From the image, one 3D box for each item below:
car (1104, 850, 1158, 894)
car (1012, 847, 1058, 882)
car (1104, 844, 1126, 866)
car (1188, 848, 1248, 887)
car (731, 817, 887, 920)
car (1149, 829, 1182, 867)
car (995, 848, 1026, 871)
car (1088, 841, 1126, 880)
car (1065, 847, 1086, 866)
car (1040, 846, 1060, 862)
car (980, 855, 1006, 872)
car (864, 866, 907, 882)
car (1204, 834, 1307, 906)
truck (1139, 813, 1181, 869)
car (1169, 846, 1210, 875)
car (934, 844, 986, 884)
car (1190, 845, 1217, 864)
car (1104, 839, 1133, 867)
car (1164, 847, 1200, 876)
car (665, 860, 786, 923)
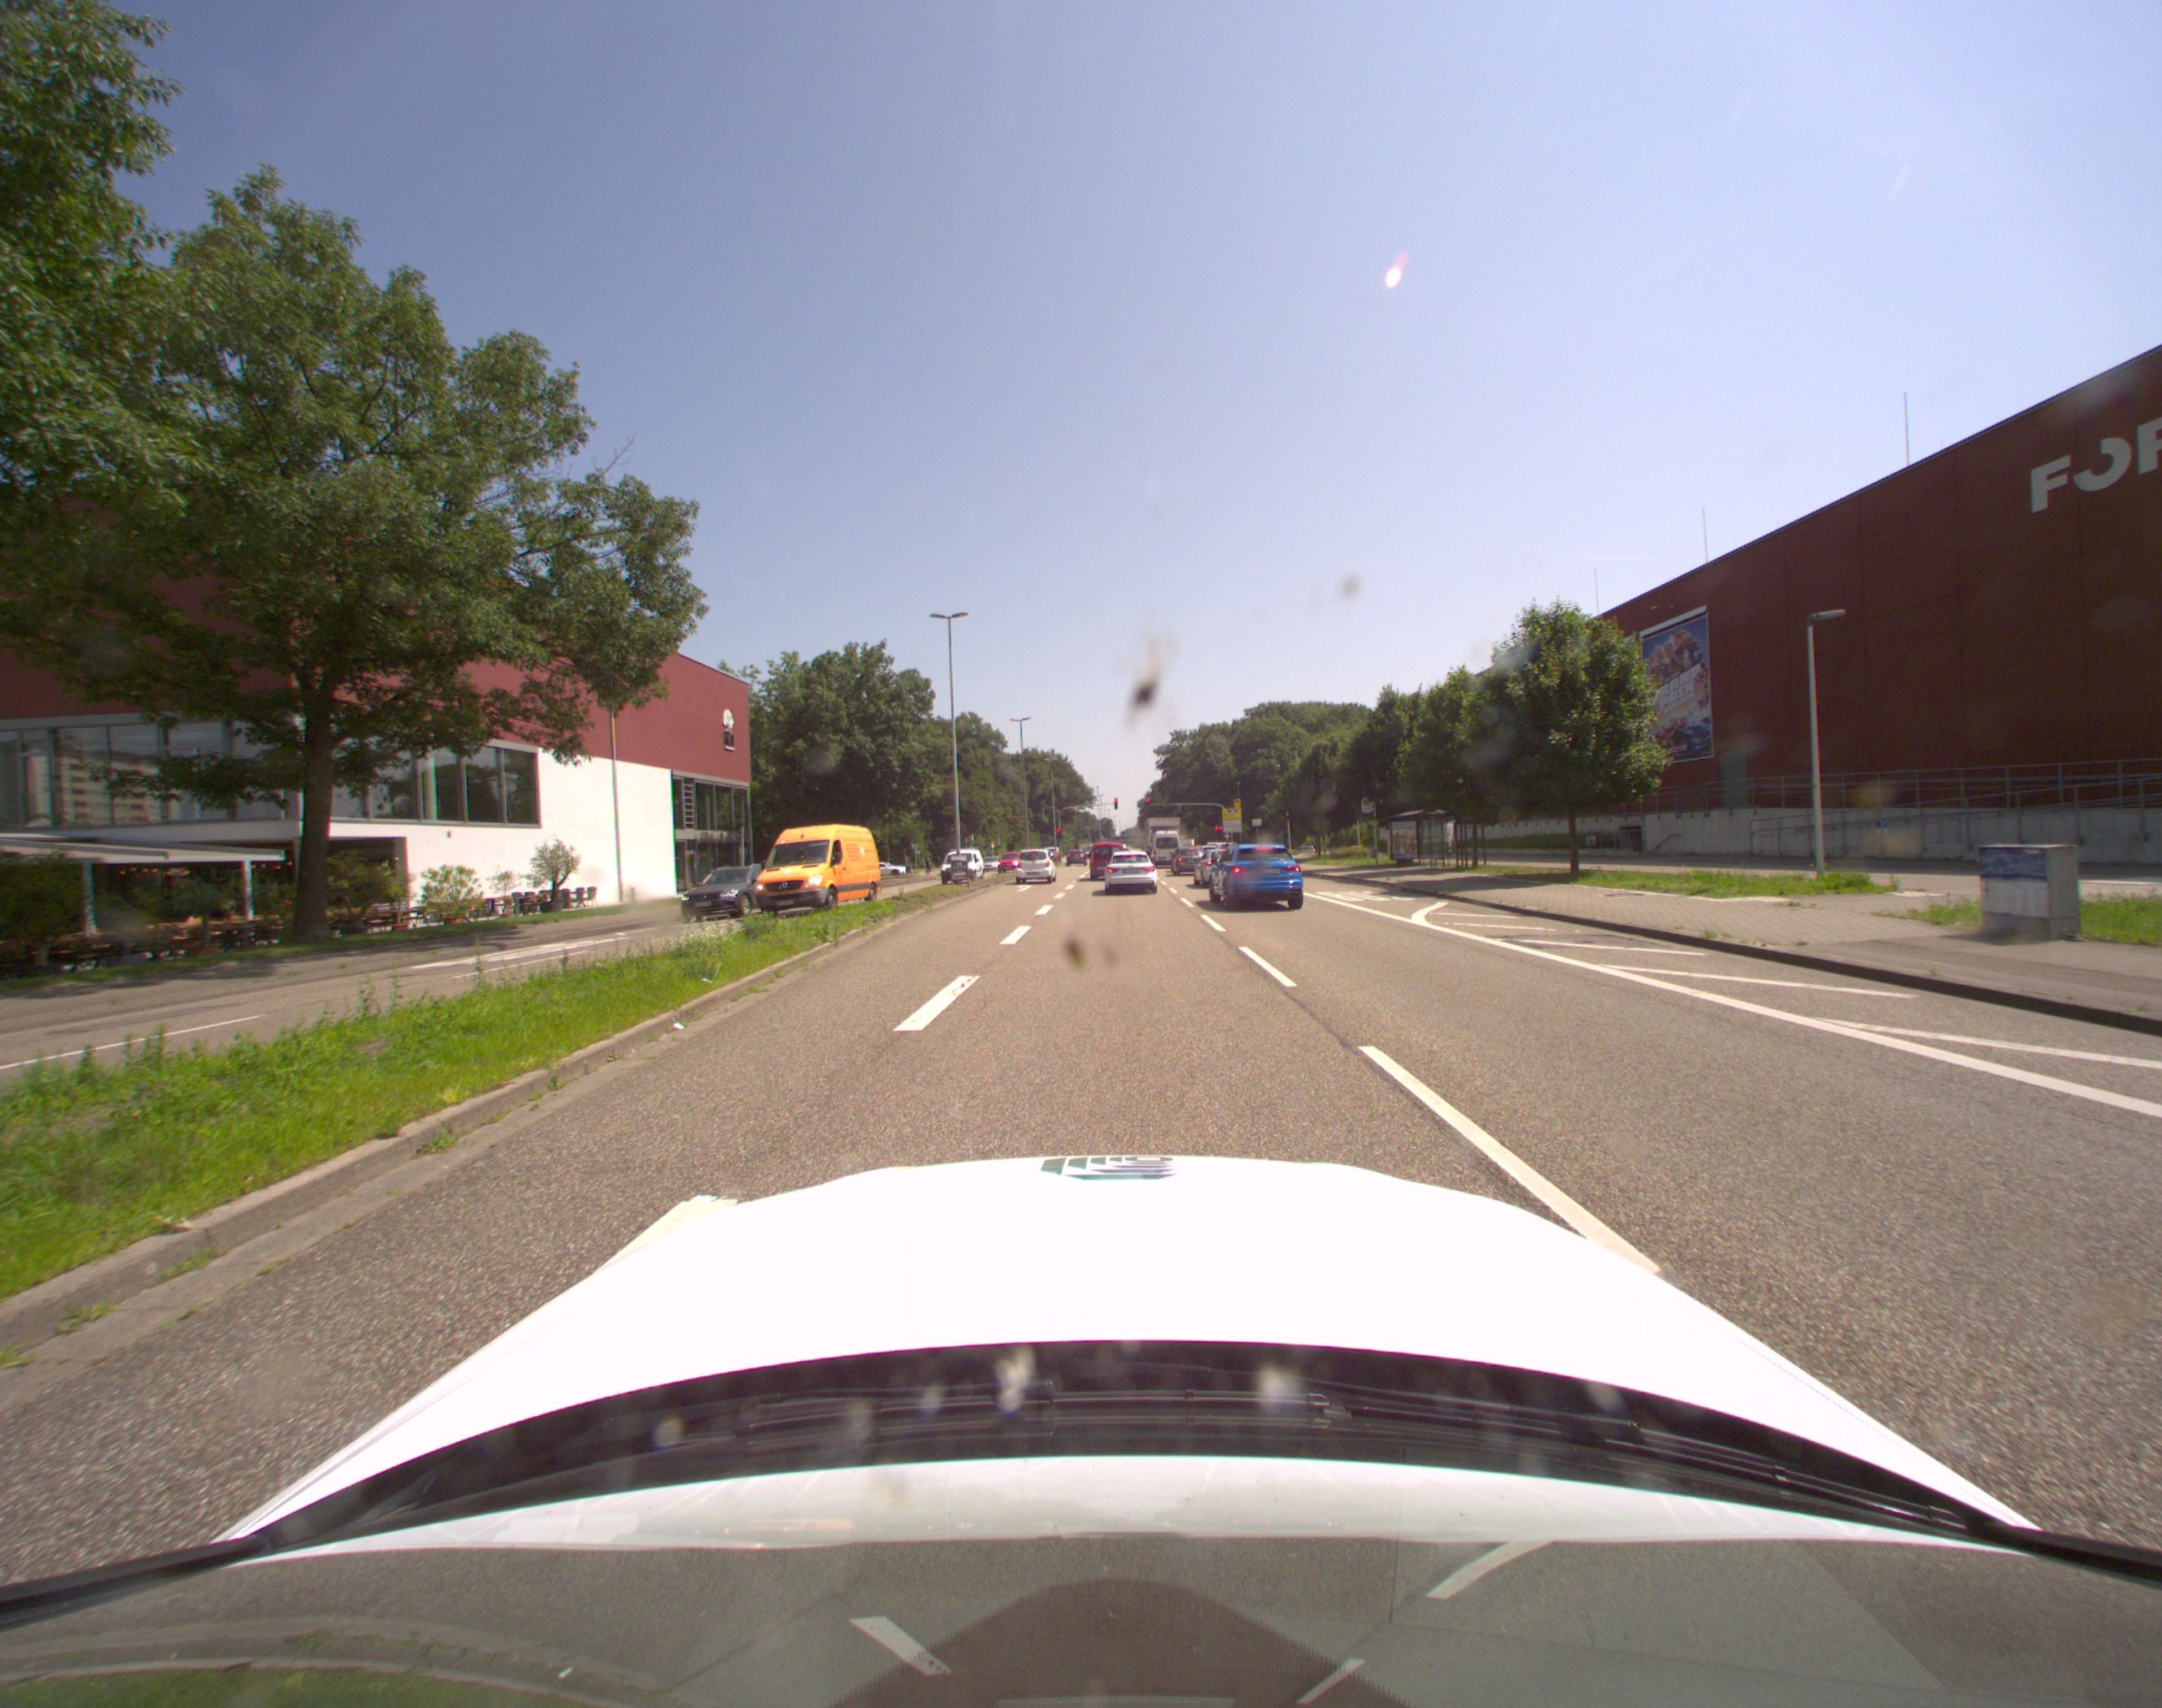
[{"bbox_3d":[1.662,0.569,28.137,1.705,1.386,4.093,-2,0,1],"label":"car"},{"bbox_3d":[-2.059,0.459,37.542,1.705,1.492,4.093,-2,0,1],"label":"car"},{"bbox_3d":[2.706,0.070,65.684,1.705,1.631,4.093,-2,0,1],"label":"car"},{"bbox_3d":[5.123,0.480,30.906,1.705,1.362,4.093,-1,0,1],"label":"car"},{"bbox_3d":[-7.913,0.360,24.573,2.256,2.567,6.061,-4,0,2],"label":"car"},{"bbox_3d":[6.143,-0.420,59.513,2.023,2.644,4.848,-2,0,2],"label":"car"},{"bbox_3d":[-5.536,0.401,64.144,1.742,1.569,4.156,-5,0,2],"label":"car"},{"bbox_3d":[1.238,0.298,39.645,1.705,1.748,4.093,-2,0,1],"label":"car"},{"bbox_3d":[-0.450,0.189,74.309,1.768,1.641,4.038,-2,0,1],"label":"car"},{"bbox_3d":[-3.960,-0.014,104.919,1.986,1.945,4.910,-5,0,2],"label":"car"},{"bbox_3d":[-8.329,0.848,77.385,1.771,1.404,4.361,-5,0,1],"label":"car"},{"bbox_3d":[-21.807,2.226,90.842,4.364,1.681,1.807,-1,0,-5],"label":"car"},{"bbox_3d":[4.339,0.357,20.903,1.830,1.595,4.402,-2,0,2],"label":"car"},{"bbox_3d":[6.722,-1.078,70.784,3.075,4.433,11.589,-1,0,3],"label":"truck"},{"bbox_3d":[5.756,0.314,43.577,1.705,1.478,4.093,1,0,1],"label":"car"},{"bbox_3d":[-6.435,0.478,43.953,1.845,1.905,4.428,-5,0,2],"label":"car"},{"bbox_3d":[10.283,0.043,68.758,1.705,1.546,4.093,-2,0,1],"label":"car"},{"bbox_3d":[2.305,-0.091,51.240,1.705,1.631,4.093,-2,0,1],"label":"car"},{"bbox_3d":[6.029,0.431,49.009,1.705,1.593,4.093,-2,0,1],"label":"car"},{"bbox_3d":[-11.066,1.104,25.703,1.709,1.603,4.216,-5,0,2],"label":"car"}]
